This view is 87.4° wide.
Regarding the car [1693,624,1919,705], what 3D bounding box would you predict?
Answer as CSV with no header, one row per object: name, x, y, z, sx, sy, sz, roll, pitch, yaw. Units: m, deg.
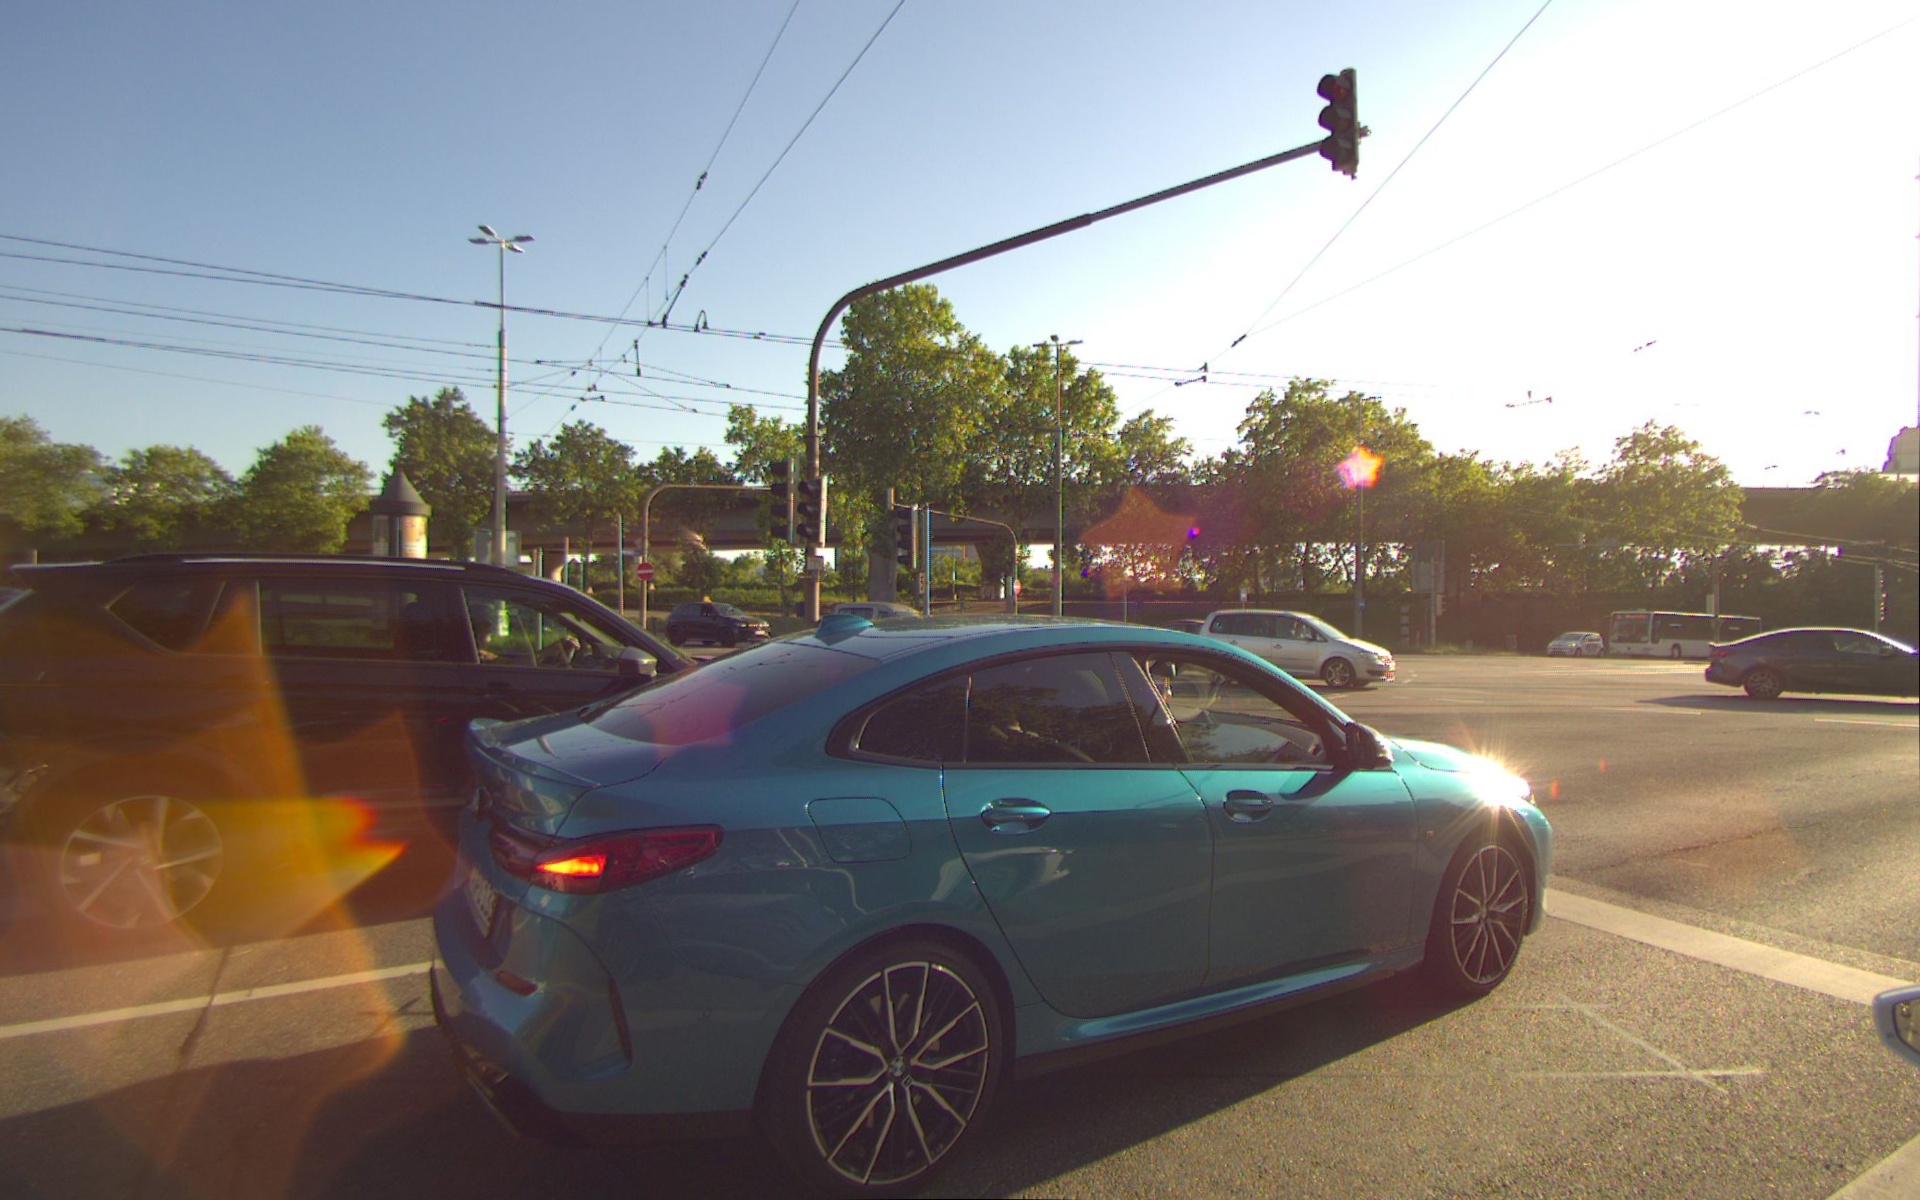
car,17.278,1.231,19.827,4.424,1.387,1.685,1,-1,41

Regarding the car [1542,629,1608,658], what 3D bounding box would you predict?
car,35.091,2.476,57.297,3.964,1.532,1.598,2,0,-32

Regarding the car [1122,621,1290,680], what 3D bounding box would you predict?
car,6.722,1.335,27.657,4.219,1.382,1.617,1,0,37

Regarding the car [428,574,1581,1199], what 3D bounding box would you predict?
car,0.424,0.744,3.790,4.162,1.485,1.704,1,-1,-33

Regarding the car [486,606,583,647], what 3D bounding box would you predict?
car,-17.324,1.064,40.859,3.867,1.546,1.719,1,0,32

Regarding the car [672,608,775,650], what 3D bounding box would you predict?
car,-9.598,1.132,40.624,4.341,1.546,1.618,1,0,36

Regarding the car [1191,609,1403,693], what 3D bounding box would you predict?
car,7.536,1.081,22.668,4.220,1.653,1.686,1,0,39

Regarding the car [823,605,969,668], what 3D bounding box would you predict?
car,-1.980,1.046,30.308,4.344,1.701,1.687,1,0,37

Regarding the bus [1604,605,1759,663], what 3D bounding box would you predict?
bus,45.464,2.215,63.122,12.756,3.171,2.534,3,-2,-28

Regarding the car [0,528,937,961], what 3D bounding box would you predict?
car,-2.562,0.611,5.637,4.566,1.702,1.806,1,-1,-29
